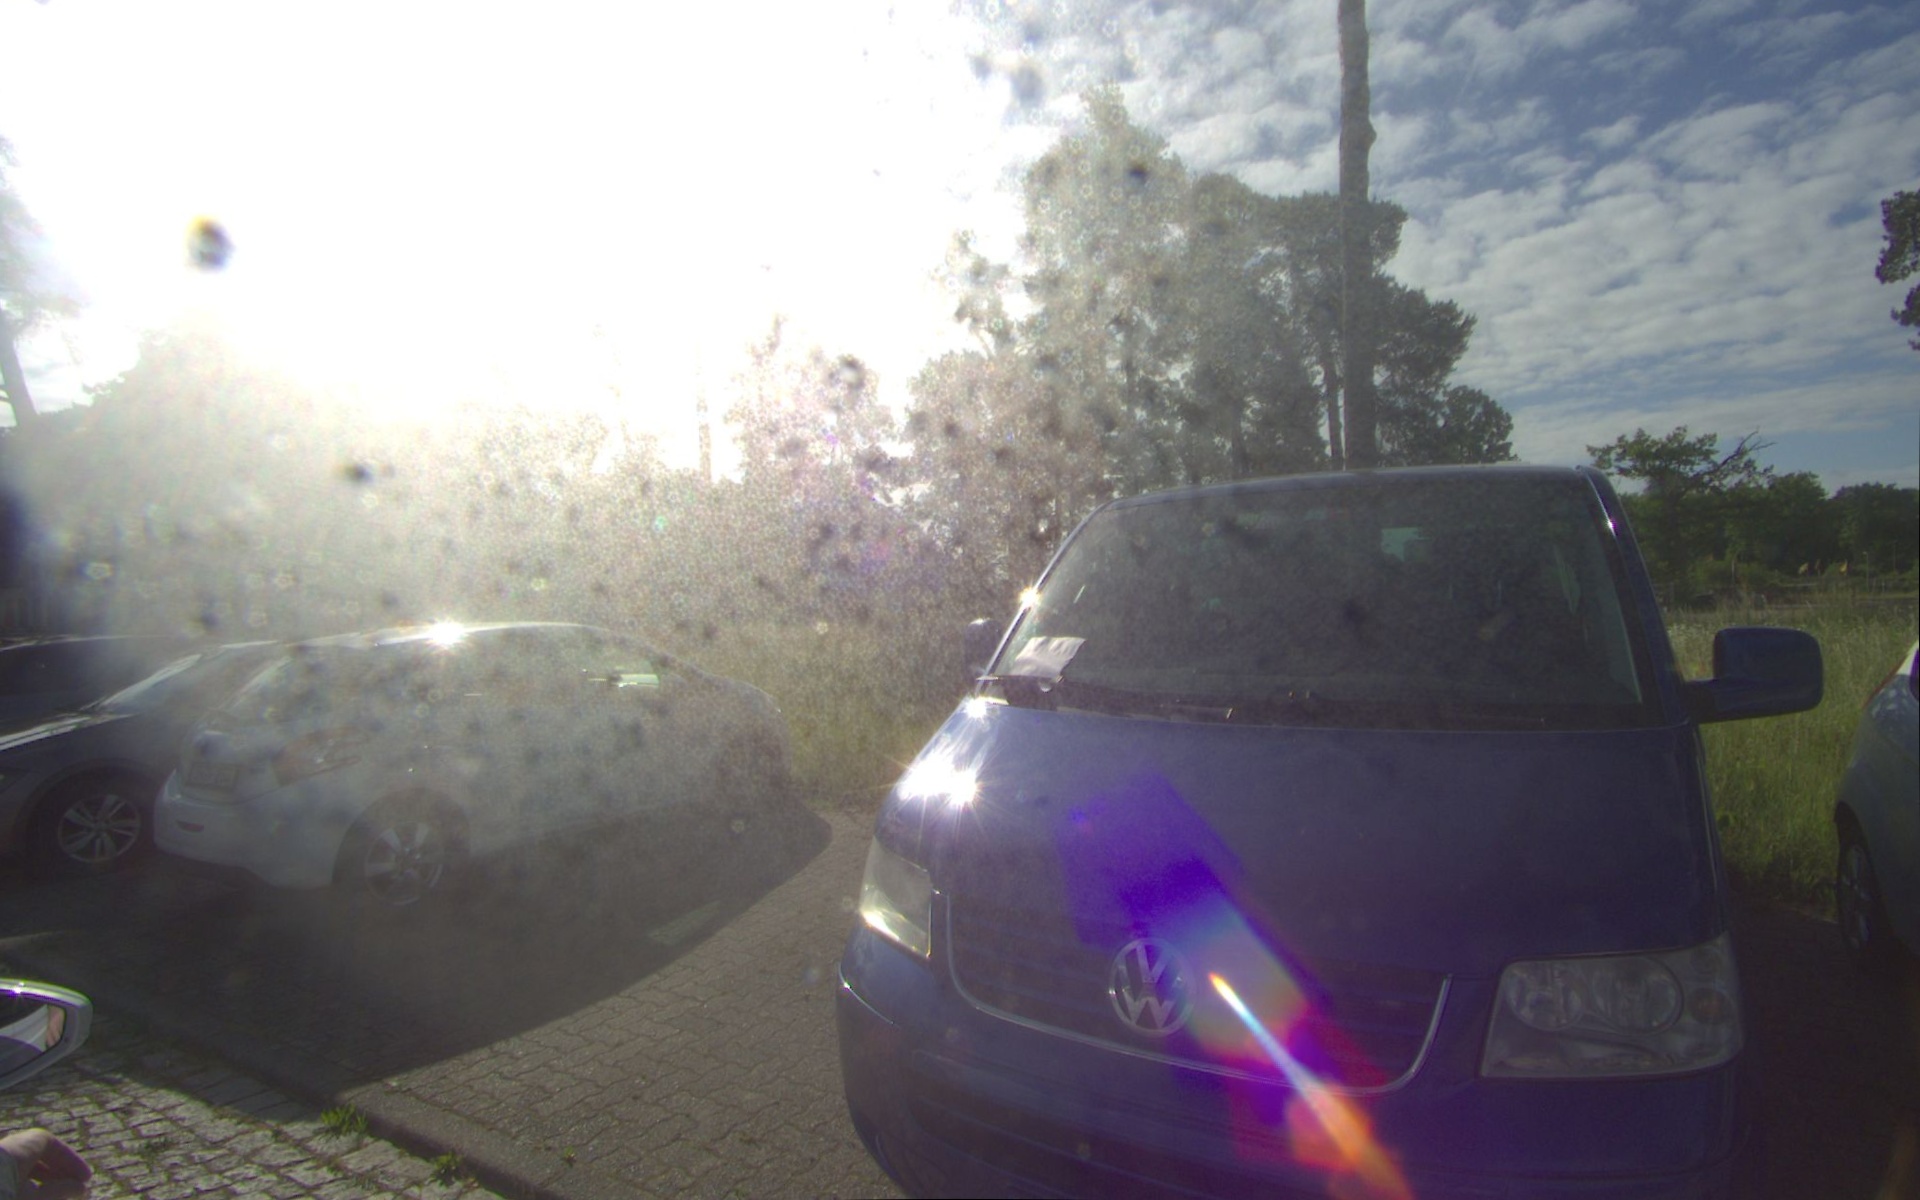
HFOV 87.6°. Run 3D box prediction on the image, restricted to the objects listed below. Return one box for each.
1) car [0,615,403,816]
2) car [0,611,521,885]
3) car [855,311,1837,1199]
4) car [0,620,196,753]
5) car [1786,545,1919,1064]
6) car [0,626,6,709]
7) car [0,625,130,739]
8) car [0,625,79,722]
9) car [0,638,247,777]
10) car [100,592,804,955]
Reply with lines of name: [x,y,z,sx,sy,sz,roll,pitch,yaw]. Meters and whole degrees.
car: [-7.721,0.963,9.628,1.790,1.468,3.699,-1,1,31]
car: [-5.578,0.896,7.600,1.829,1.468,3.699,-1,1,32]
car: [1.785,0.476,4.176,1.971,1.961,4.689,-1,1,31]
car: [-11.983,1.075,12.039,1.613,1.468,4.118,-1,1,32]
car: [3.622,0.615,2.353,1.911,1.598,4.388,-1,1,31]
car: [-18.266,1.238,16.142,1.613,1.434,3.873,-1,1,32]
car: [-13.853,1.151,12.974,1.755,1.434,4.422,-1,1,32]
car: [-16.031,1.200,14.544,1.613,1.434,4.549,-1,1,31]
car: [-10.097,1.140,10.648,1.721,1.240,3.699,-1,1,32]
car: [-2.914,0.784,6.531,1.736,1.555,3.699,-1,1,32]
